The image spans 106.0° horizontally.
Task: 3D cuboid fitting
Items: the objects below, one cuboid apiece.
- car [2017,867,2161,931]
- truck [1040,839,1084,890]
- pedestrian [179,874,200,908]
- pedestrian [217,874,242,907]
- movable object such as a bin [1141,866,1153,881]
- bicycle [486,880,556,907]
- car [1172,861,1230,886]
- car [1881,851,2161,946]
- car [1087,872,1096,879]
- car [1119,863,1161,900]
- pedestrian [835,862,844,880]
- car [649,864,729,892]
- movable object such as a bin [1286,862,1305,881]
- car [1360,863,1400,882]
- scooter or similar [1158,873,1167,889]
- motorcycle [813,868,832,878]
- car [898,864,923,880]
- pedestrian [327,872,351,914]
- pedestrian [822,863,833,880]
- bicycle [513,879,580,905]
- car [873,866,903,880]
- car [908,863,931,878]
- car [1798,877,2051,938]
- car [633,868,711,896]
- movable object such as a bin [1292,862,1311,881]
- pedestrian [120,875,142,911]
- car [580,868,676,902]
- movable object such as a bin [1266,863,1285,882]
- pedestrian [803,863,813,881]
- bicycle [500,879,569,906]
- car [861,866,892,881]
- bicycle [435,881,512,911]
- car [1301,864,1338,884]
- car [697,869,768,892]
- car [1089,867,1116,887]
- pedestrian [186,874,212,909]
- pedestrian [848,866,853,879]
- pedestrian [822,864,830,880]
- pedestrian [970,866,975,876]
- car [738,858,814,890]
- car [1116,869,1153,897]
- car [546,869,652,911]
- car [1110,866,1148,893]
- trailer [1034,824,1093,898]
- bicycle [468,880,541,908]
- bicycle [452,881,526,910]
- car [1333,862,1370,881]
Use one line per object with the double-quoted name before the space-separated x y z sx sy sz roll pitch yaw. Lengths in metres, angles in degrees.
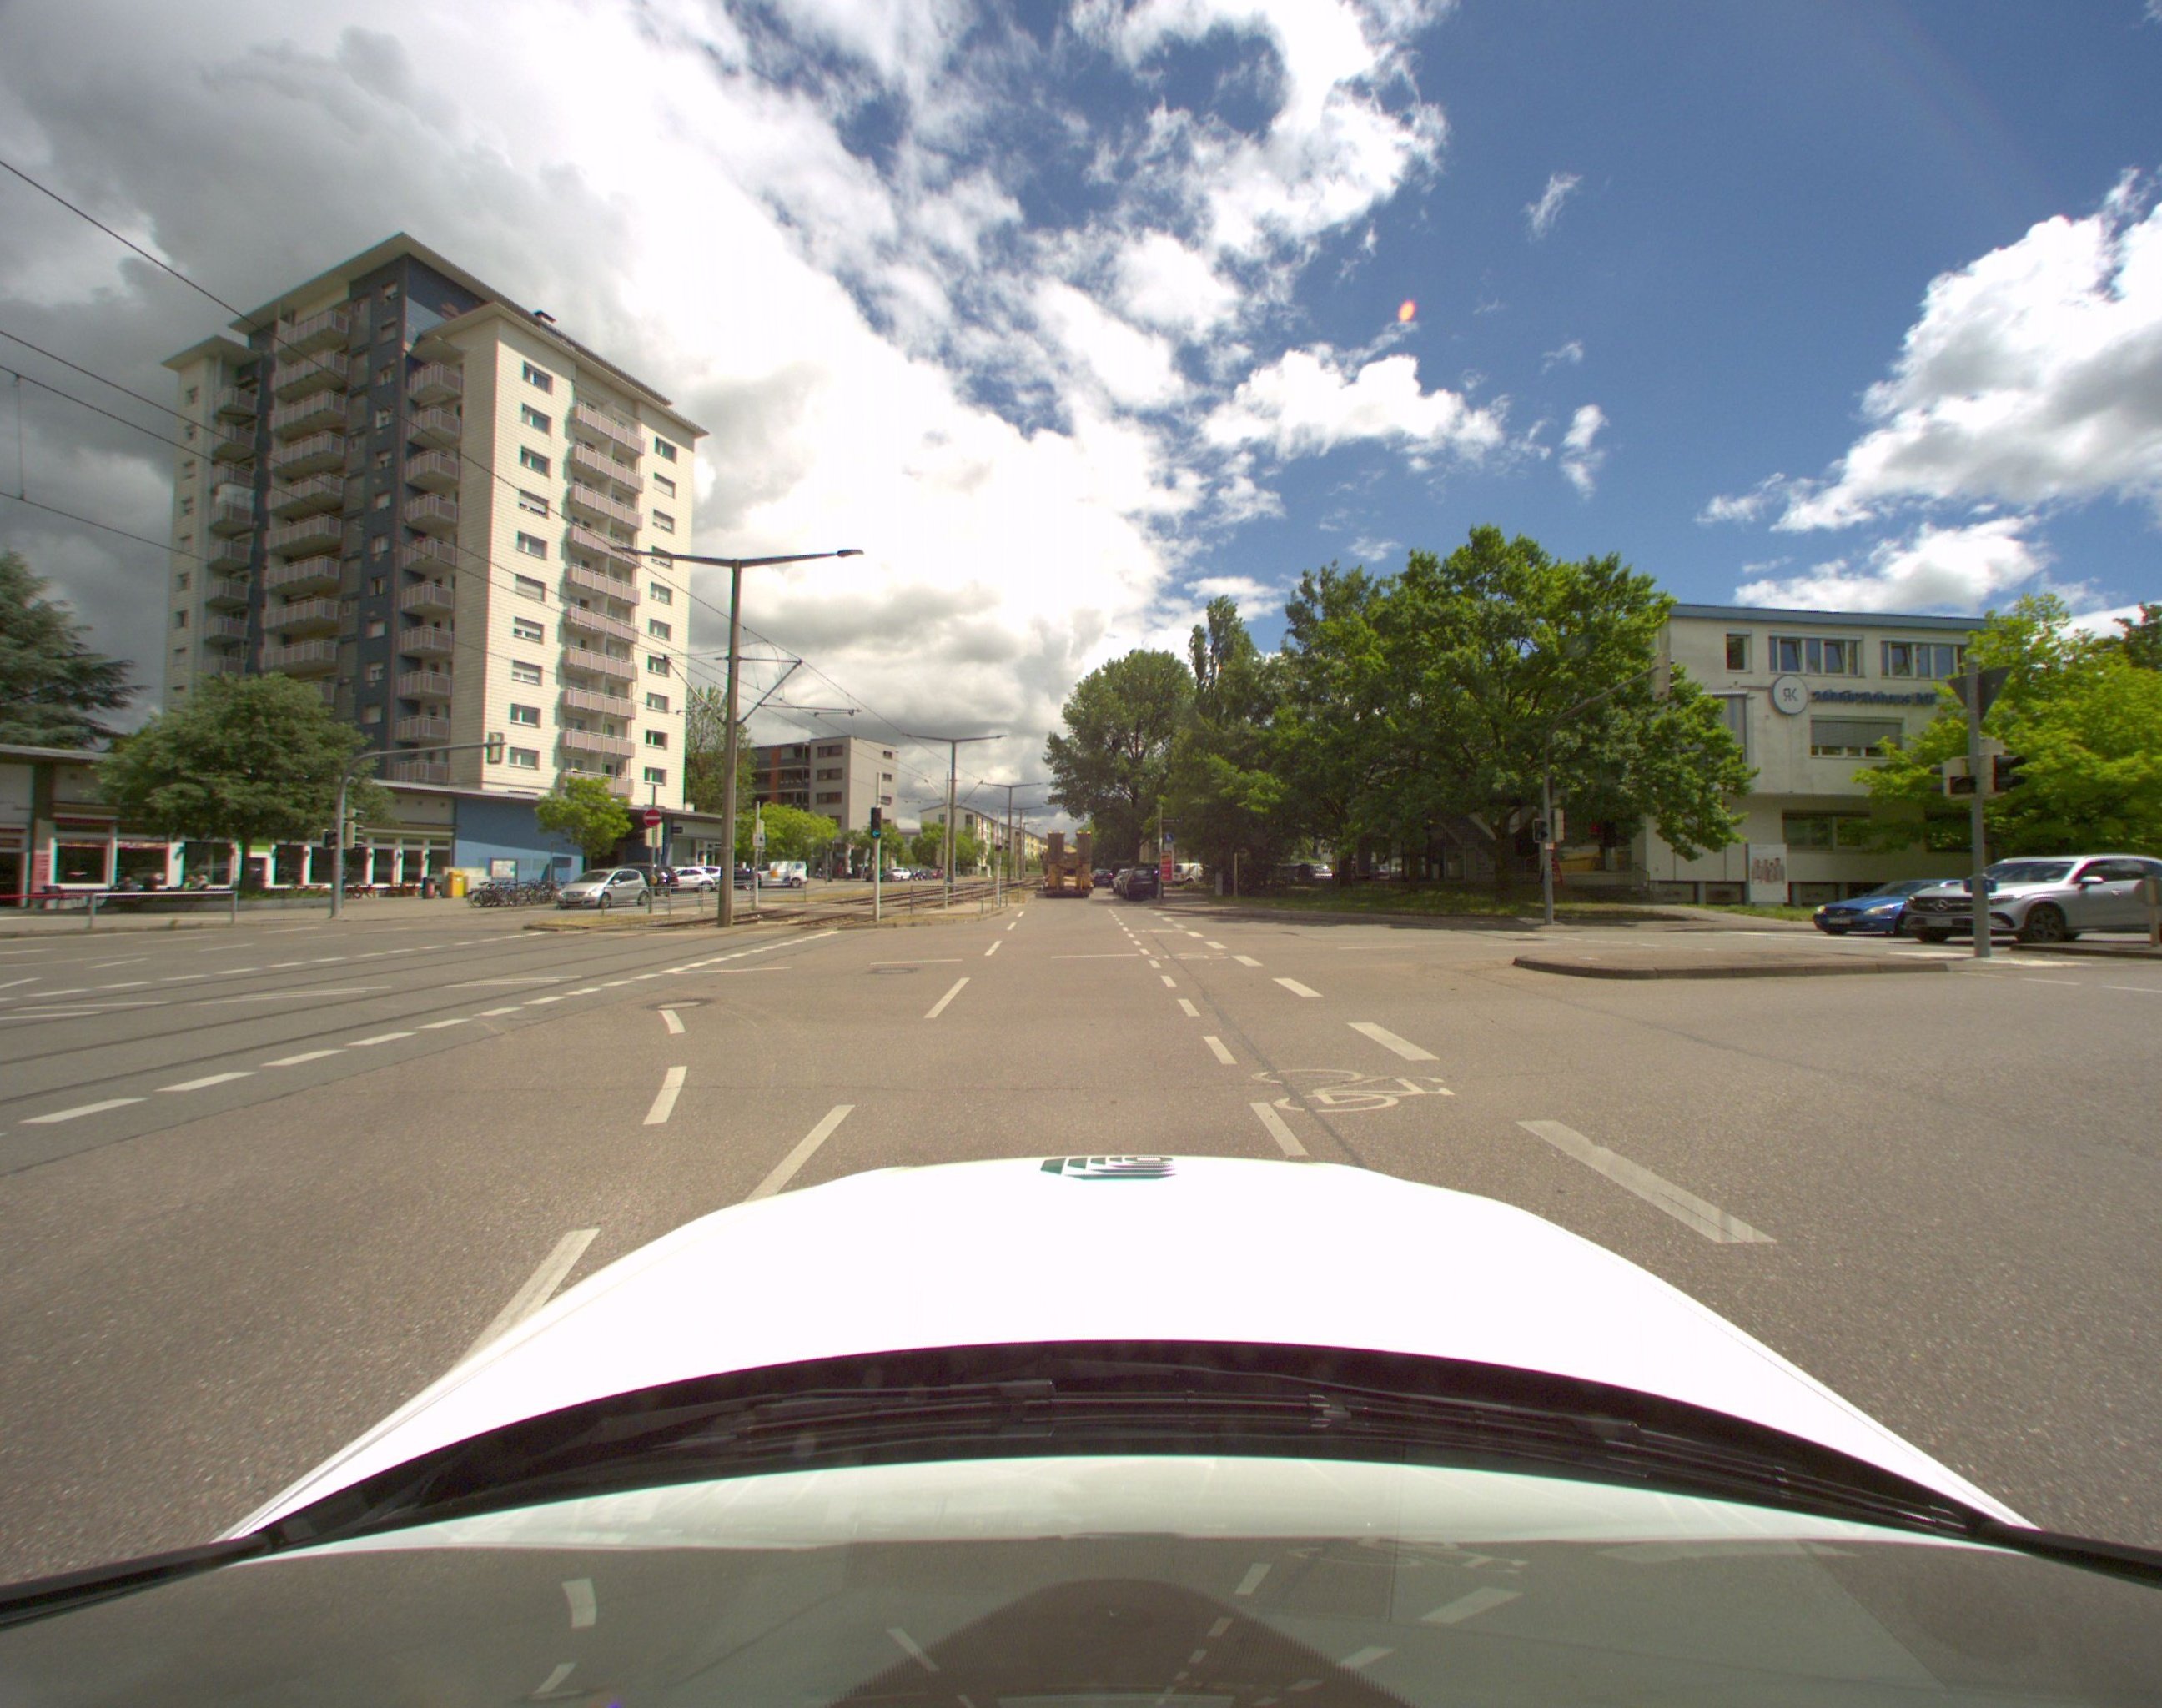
"car" 25.370 1.032 19.361 4.386 1.415 1.946 -1 -3 -8
"truck" -1.366 0.723 57.386 2.826 3.330 7.979 -1 0 -2
"pedestrian" -39.188 1.630 35.793 0.565 1.472 0.529 -1 -1 30
"pedestrian" -37.726 1.611 36.085 0.522 1.472 0.573 -1 -1 4
"movable object such as a bin" 6.597 1.945 81.337 1.095 1.439 0.761 -1 -1 -2
"bicycle" -23.056 1.613 33.565 2.418 1.066 0.705 -1 -1 1
"car" 9.215 1.448 62.480 4.004 1.823 1.796 -1 -1 -23
"car" 18.028 0.806 15.149 4.634 1.592 1.919 -1 -3 -6
"car" 2.324 4.636 178.170 1.987 1.387 4.000 -1 0 0
"car" 3.000 1.389 42.053 1.639 1.762 4.565 -1 0 -2
"pedestrian" -24.738 1.756 83.369 0.609 1.792 0.843 -1 -1 0
"car" -24.196 1.466 50.356 1.883 1.632 4.023 -1 -1 45
"movable object such as a bin" 17.021 1.369 64.625 1.112 1.430 1.284 -1 -1 -2
"car" 24.012 1.460 65.466 1.738 1.470 3.999 -1 0 0
"scooter or similar" 5.671 1.886 56.716 0.476 1.055 0.895 -1 -1 -6
"motorcycle" -29.409 2.152 92.572 1.887 1.178 0.741 -1 -1 -2
"car" -18.998 1.969 91.142 1.988 1.663 4.097 1 0 -2
"pedestrian" -29.409 1.527 32.283 0.415 1.643 0.600 -1 -1 -1
"pedestrian" -24.398 1.714 78.438 0.835 1.650 0.615 0 -1 10
"bicycle" -23.020 1.624 35.073 2.418 1.066 0.705 -1 -1 1
"car" -20.540 1.994 86.719 1.745 1.475 4.407 -1 0 6
"car" -19.111 1.985 96.604 1.988 1.663 4.097 1 0 -2
"car" 18.946 1.188 18.409 3.953 1.225 1.909 -1 -3 -6
"car" -23.831 1.611 47.552 3.785 1.496 1.727 0 -1 -39
"movable object such as a bin" 17.086 1.361 63.166 1.112 1.430 1.284 -1 -1 -2
"pedestrian" -39.935 1.629 34.224 0.565 1.472 0.529 -1 -1 33
"car" -23.667 1.574 42.609 1.908 1.591 4.024 -1 -1 44
"movable object such as a bin" 14.937 1.384 62.539 1.112 1.430 1.284 -1 -1 -2
"pedestrian" -27.149 1.789 80.985 0.845 1.792 0.866 0 -1 -27
"bicycle" -23.015 1.618 34.301 2.418 1.066 0.705 -1 -1 1
"car" -20.540 1.949 81.978 1.727 1.428 4.384 -1 -1 3
"bicycle" -23.148 1.596 31.063 2.418 1.066 0.705 -1 -1 1
"car" 19.208 1.578 65.811 1.932 1.490 4.002 -1 0 2
"car" -23.298 1.753 54.474 4.021 1.383 1.884 0 -1 -41
"car" 1.645 1.808 64.365 1.811 1.449 3.822 -1 0 -3
"pedestrian" -37.936 1.606 35.033 0.522 1.472 0.573 -1 -1 4
"pedestrian" -25.678 2.020 90.705 0.500 1.460 0.555 0 -1 -27
"pedestrian" -25.766 1.816 82.266 0.667 1.574 0.682 0 -1 -27
"pedestrian" -17.344 2.730 130.169 0.746 1.662 0.870 -1 -1 4
"car" -21.997 1.409 58.927 4.787 2.157 1.884 0 -1 -41
"car" 3.021 1.609 46.550 1.640 1.458 4.071 -1 0 -3
"car" -19.335 1.411 32.852 1.810 1.533 3.759 -1 0 5
"car" 2.950 1.597 51.297 1.780 1.565 4.562 -1 0 -5
"trailer" -1.051 0.416 48.095 3.042 3.773 11.604 -1 0 -1
"bicycle" -23.107 1.607 32.645 2.418 1.066 0.705 -1 -1 1
"bicycle" -23.137 1.602 31.846 2.418 1.066 0.705 -1 -1 1
"car" 21.588 1.345 65.108 1.736 1.443 4.002 -1 0 2
